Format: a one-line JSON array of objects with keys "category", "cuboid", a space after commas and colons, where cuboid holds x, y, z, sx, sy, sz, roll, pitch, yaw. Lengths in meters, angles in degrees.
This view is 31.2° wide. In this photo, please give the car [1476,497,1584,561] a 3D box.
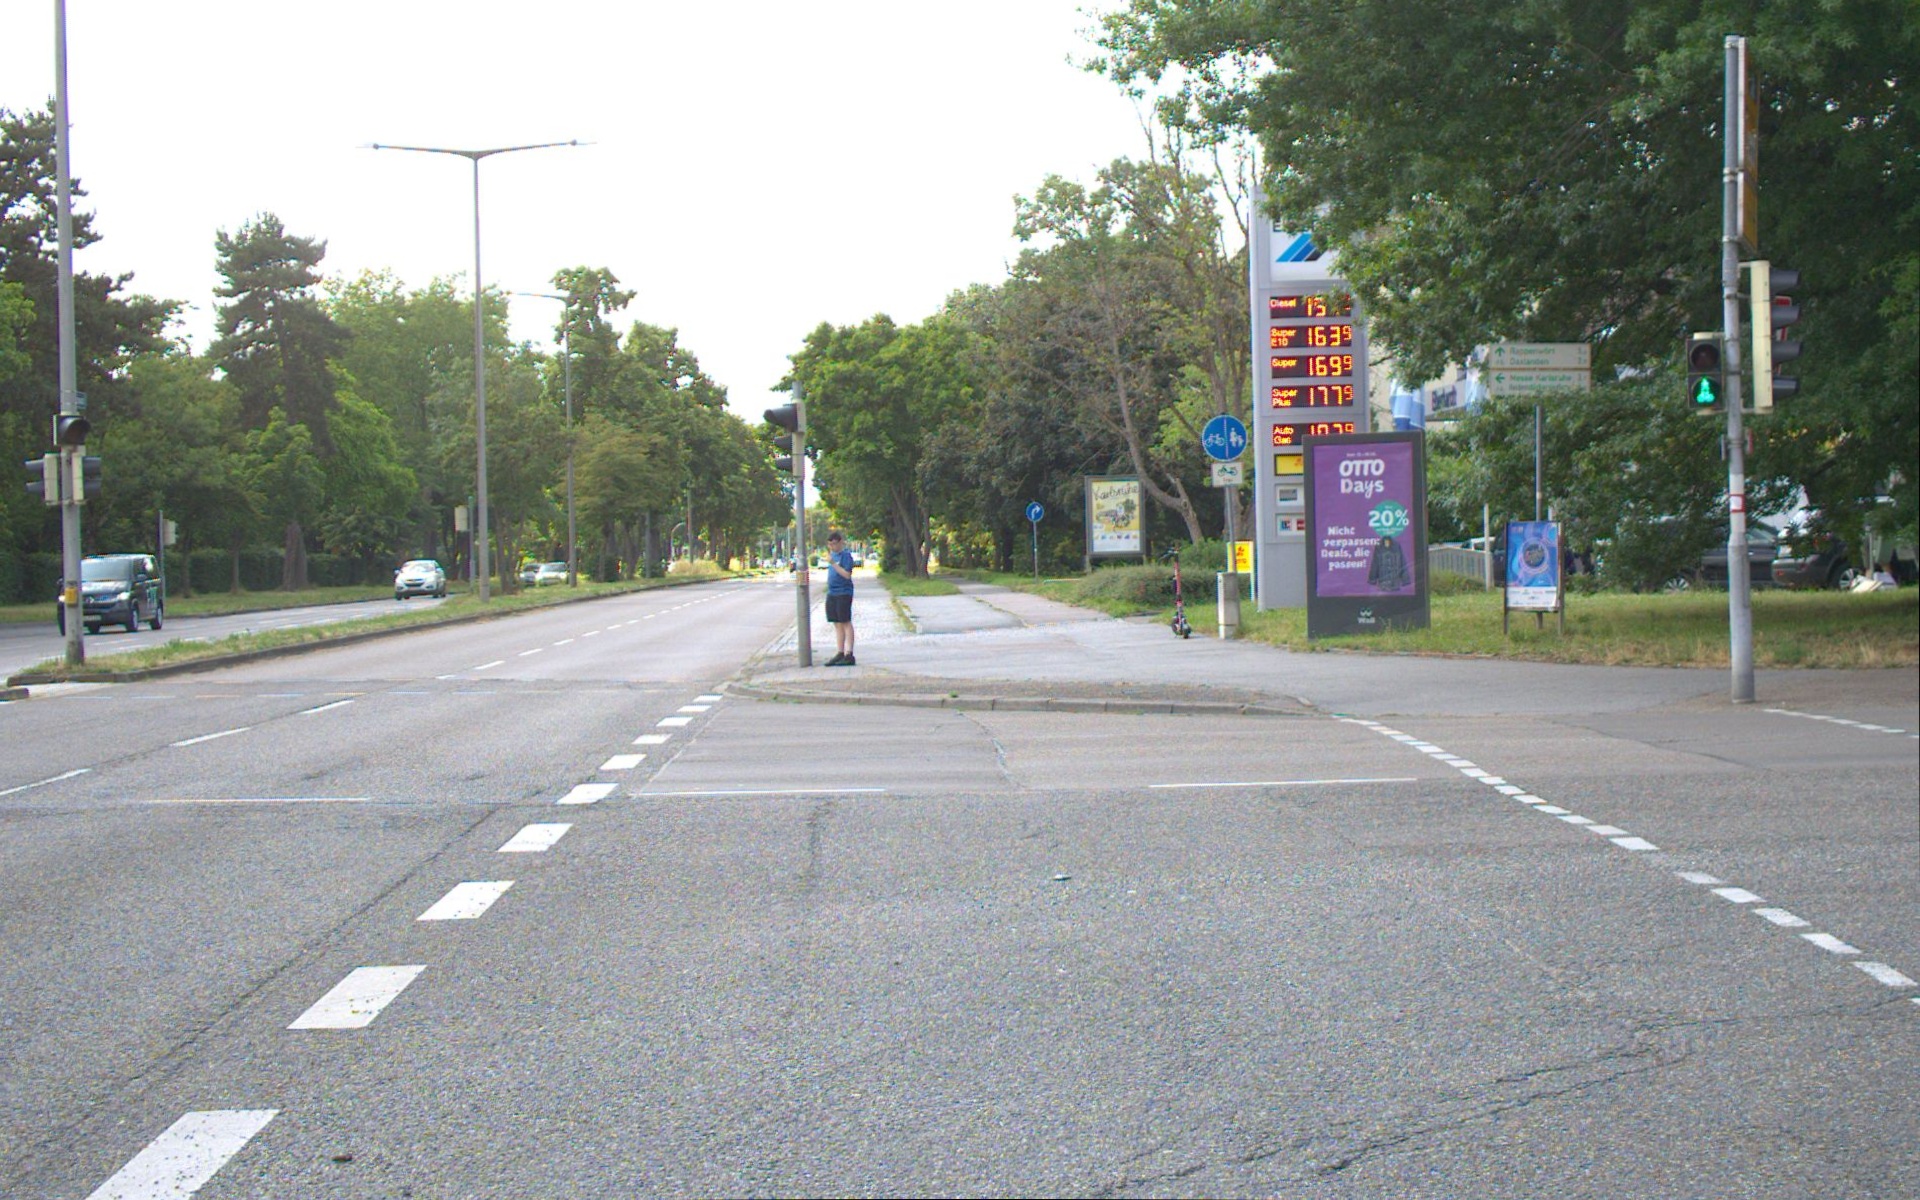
[{"category": "car", "cuboid": [13.629, -1.688, 82.426, 1.750, 1.449, 3.741, -2, 1, -3]}]

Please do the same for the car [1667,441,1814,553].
[{"category": "car", "cuboid": [18.021, -2.340, 79.652, 1.750, 2.445, 5.751, -2, 1, -3]}]

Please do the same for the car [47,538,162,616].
[{"category": "car", "cuboid": [-21.619, -0.620, 87.049, 1.765, 1.850, 4.817, -2, 1, -1]}]

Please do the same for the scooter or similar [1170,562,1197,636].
[{"category": "scooter or similar", "cuboid": [3.011, -0.025, 46.359, 0.221, 0.976, 1.272, -2, 1, -1]}]

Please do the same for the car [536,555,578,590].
[{"category": "car", "cuboid": [-20.729, -1.425, 176.829, 1.860, 1.699, 4.456, -2, 1, -3]}]

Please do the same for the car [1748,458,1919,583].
[{"category": "car", "cuboid": [14.997, -1.248, 52.774, 5.179, 1.820, 2.154, -2, 1, -12]}]

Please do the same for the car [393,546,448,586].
[{"category": "car", "cuboid": [-23.804, -1.505, 151.714, 1.860, 1.699, 4.456, -2, 1, -2]}]

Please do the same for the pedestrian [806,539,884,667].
[{"category": "pedestrian", "cuboid": [-1.411, 0.029, 42.051, 0.725, 1.526, 0.760, -2, 1, -17]}]

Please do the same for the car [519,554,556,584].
[{"category": "car", "cuboid": [-25.113, -1.841, 204.517, 1.860, 1.699, 4.456, -2, 1, -3]}]
